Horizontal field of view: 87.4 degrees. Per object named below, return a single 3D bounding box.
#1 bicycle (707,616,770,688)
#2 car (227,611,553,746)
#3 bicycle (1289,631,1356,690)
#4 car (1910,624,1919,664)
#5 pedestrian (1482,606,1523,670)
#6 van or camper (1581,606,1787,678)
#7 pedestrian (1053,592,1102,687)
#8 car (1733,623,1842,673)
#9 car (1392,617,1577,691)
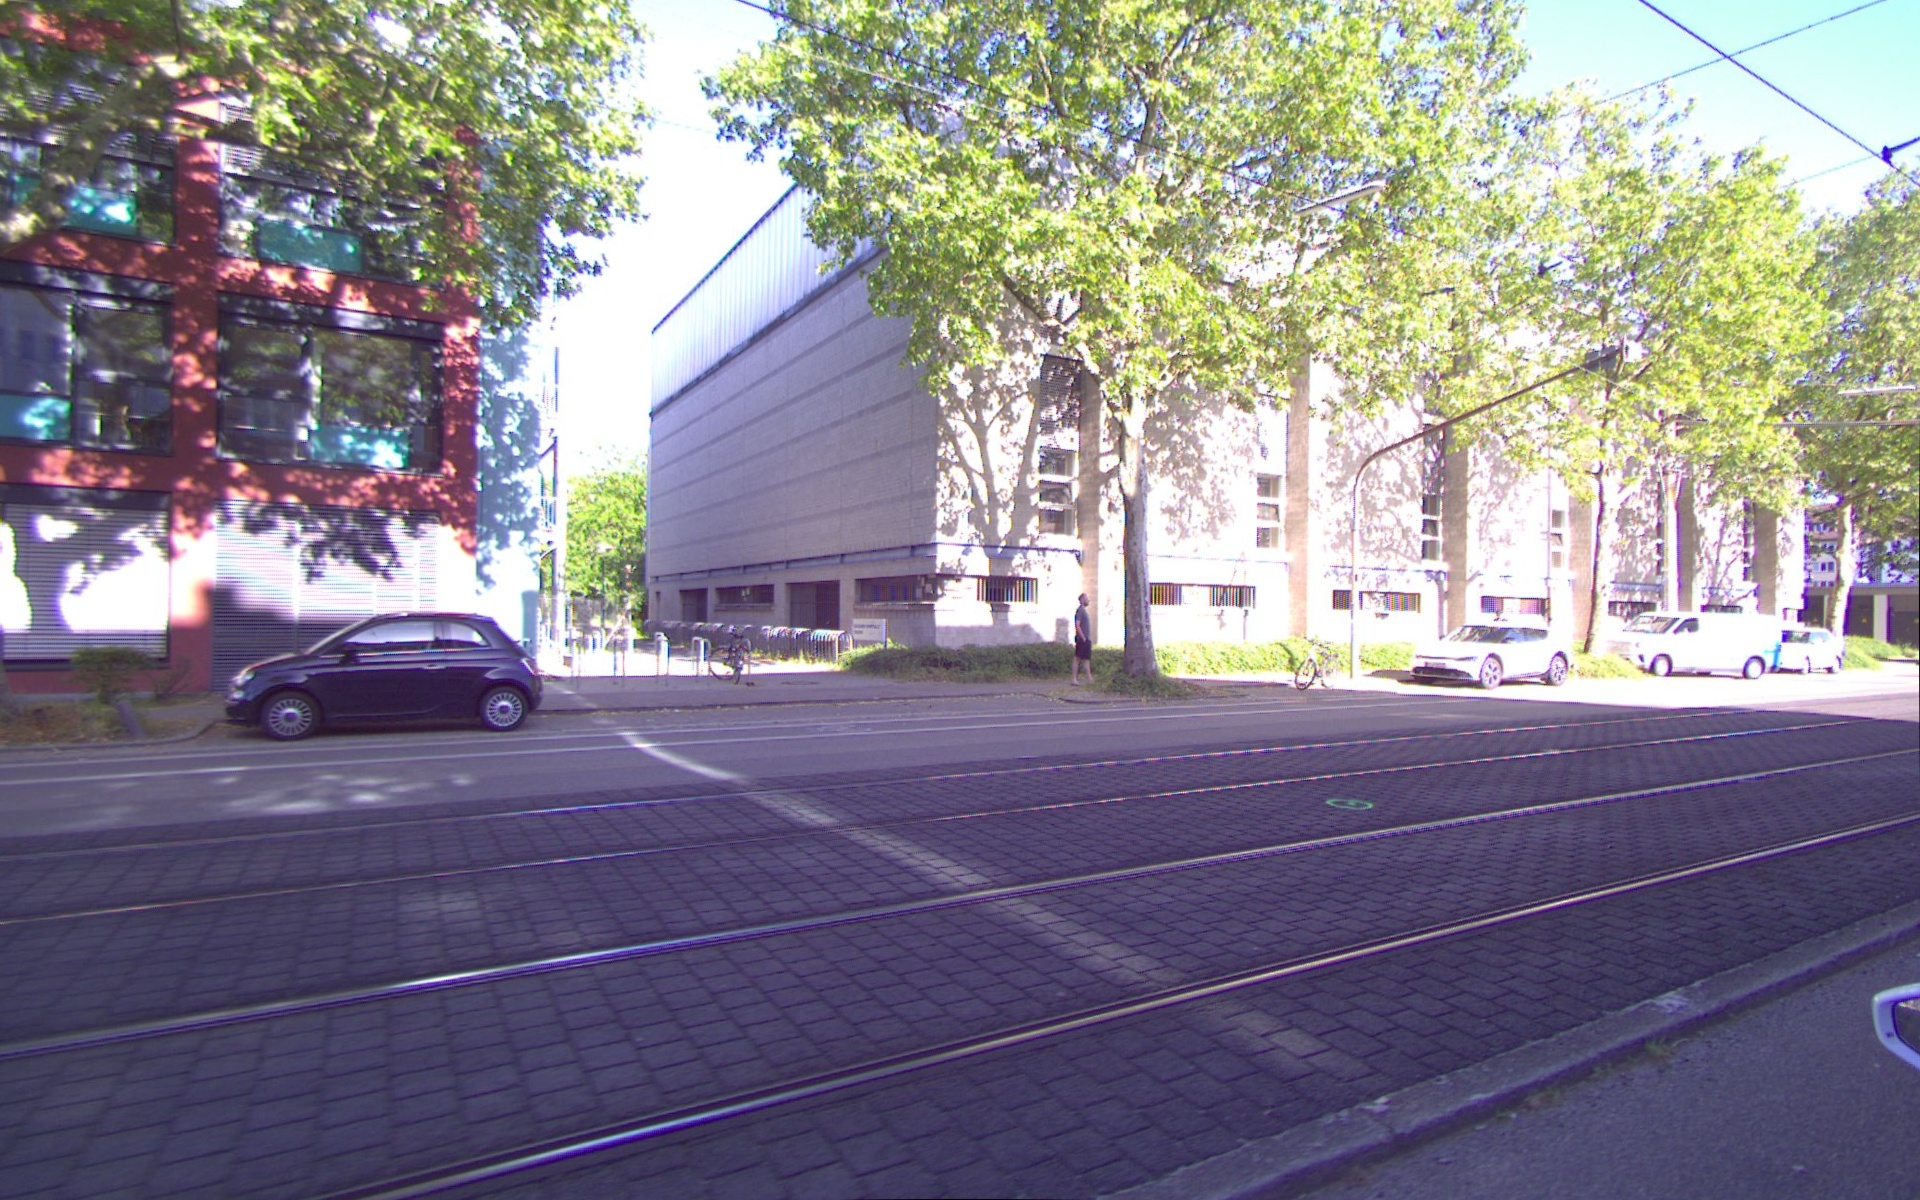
[{"bbox_3d":[-4.456,1.003,20.098,0.656,1.295,1.999,1,1,-30],"label":"bicycle"},{"bbox_3d":[-7.114,0.913,12.800,3.421,1.473,1.500,1,1,-30],"label":"car"},{"bbox_3d":[8.120,1.331,22.471,1.638,1.225,0.577,0,2,-37],"label":"bicycle"},{"bbox_3d":[42.378,1.885,42.739,3.954,1.688,1.878,1,-1,-31],"label":"car"},{"bbox_3d":[16.128,1.128,29.848,0.662,1.845,0.792,0,2,-30],"label":"pedestrian"},{"bbox_3d":[21.781,1.250,30.304,5.097,1.976,2.063,1,1,-11],"label":"van or camper"},{"bbox_3d":[2.424,0.803,20.818,0.661,1.895,0.782,1,1,-24],"label":"pedestrian"},{"bbox_3d":[28.110,1.578,34.081,4.043,1.528,1.566,1,1,-31],"label":"car"},{"bbox_3d":[13.055,1.271,24.954,4.641,1.594,2.000,1,1,-32],"label":"car"}]
